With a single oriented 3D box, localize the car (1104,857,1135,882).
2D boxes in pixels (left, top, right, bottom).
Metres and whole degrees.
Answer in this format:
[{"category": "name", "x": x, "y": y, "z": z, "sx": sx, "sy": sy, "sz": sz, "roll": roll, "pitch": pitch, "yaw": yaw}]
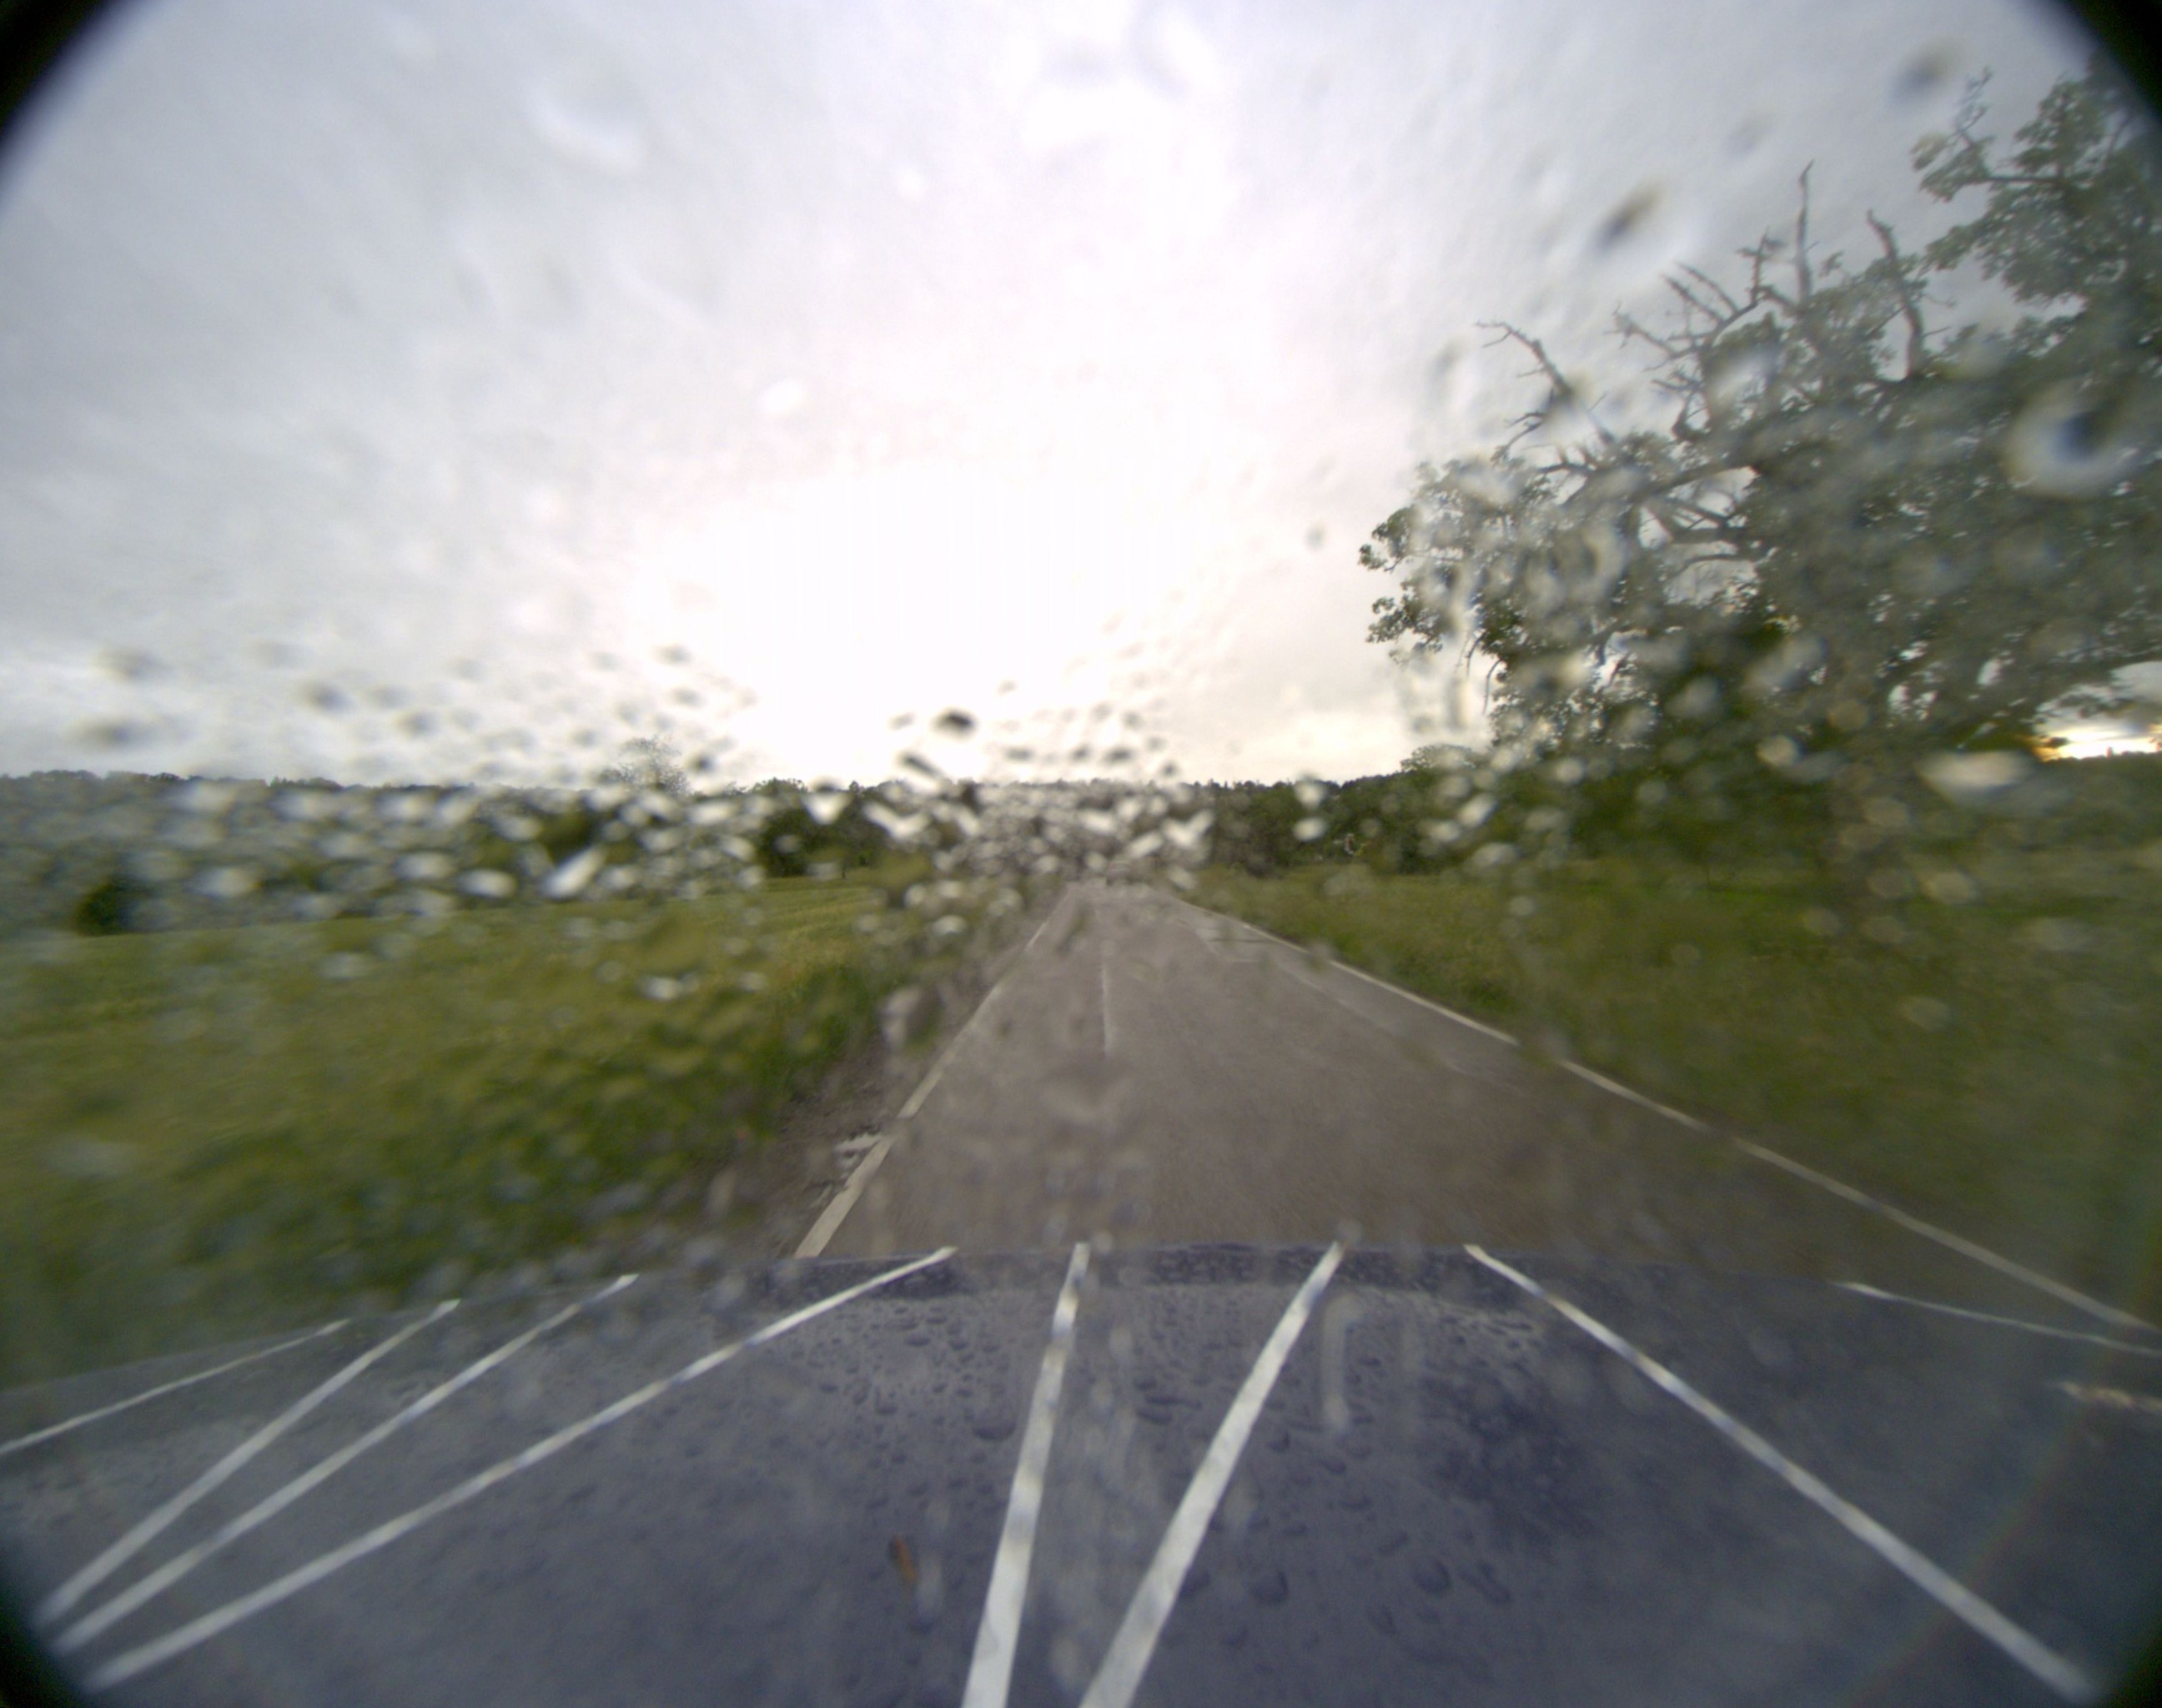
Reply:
[{"category": "car", "x": 2.568, "y": 1.011, "z": 51.428, "sx": 1.744, "sy": 1.463, "sz": 4.121, "roll": -3, "pitch": 1, "yaw": -2}]
